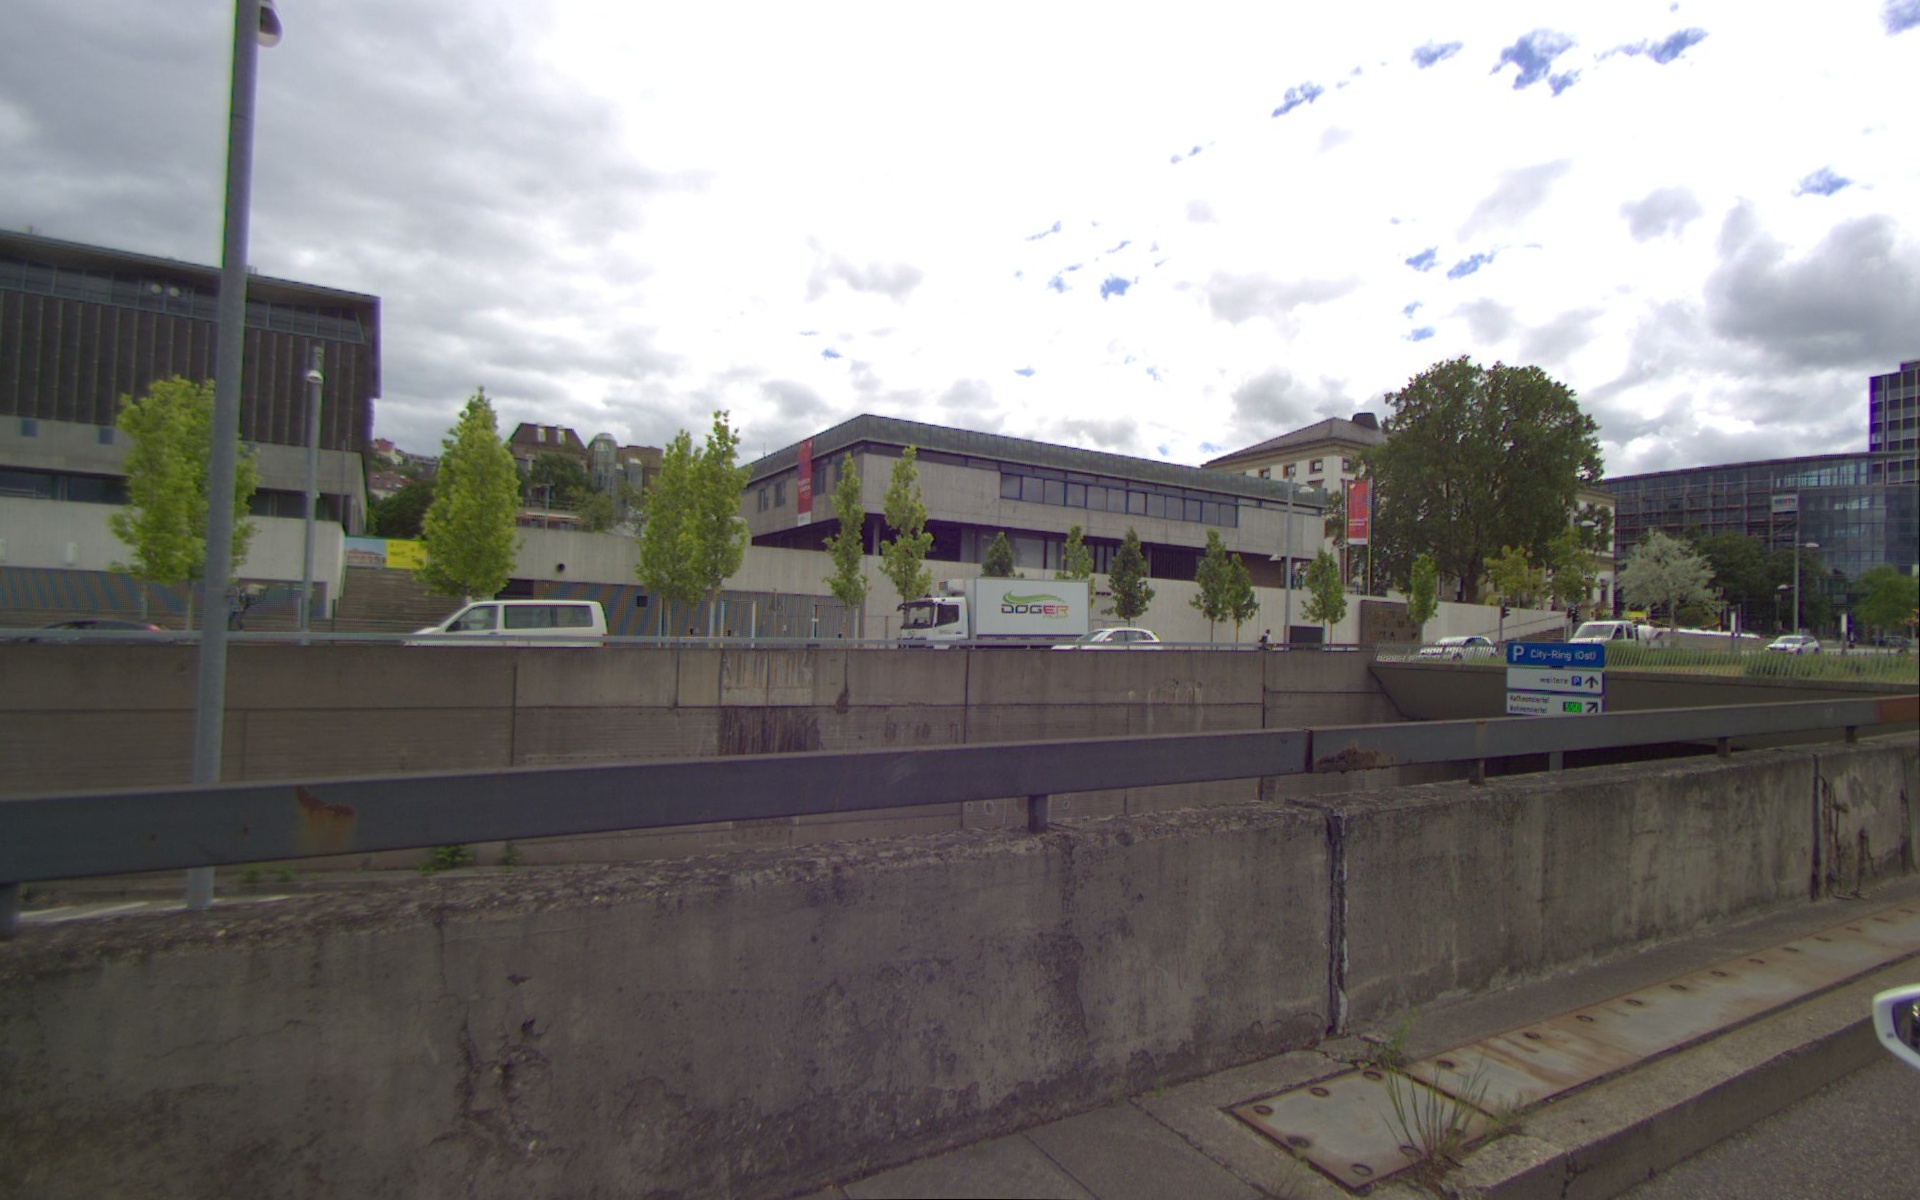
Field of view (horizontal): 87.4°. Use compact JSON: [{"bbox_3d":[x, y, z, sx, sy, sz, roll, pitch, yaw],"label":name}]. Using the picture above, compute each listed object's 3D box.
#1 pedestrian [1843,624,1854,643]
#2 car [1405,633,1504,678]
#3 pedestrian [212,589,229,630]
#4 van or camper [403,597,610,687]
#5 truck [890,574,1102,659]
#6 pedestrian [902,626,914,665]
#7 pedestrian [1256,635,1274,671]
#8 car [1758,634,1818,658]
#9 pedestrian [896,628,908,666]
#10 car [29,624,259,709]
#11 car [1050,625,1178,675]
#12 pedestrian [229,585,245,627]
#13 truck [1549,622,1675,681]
[{"bbox_3d":[80.968,3.036,91.511,0.643,1.671,0.521,2,0,-31],"label":"pedestrian"},{"bbox_3d":[22.128,2.450,44.942,4.208,1.840,1.984,1,0,-30],"label":"car"},{"bbox_3d":[-27.603,0.350,37.494,0.457,1.542,0.377,2,0,-36],"label":"pedestrian"},{"bbox_3d":[-11.197,0.989,24.841,4.503,2.040,1.984,1,0,-30],"label":"van or camper"},{"bbox_3d":[1.353,0.611,36.582,7.170,2.825,3.214,1,0,-31],"label":"truck"},{"bbox_3d":[-2.097,1.830,40.600,0.314,1.542,0.346,2,0,-36],"label":"pedestrian"},{"bbox_3d":[15.241,2.653,50.163,0.656,1.757,0.537,1,0,-30],"label":"pedestrian"},{"bbox_3d":[57.233,3.148,69.429,4.556,1.595,1.711,1,0,-29],"label":"car"},{"bbox_3d":[-2.360,1.913,40.887,0.314,1.542,0.410,2,0,-36],"label":"pedestrian"},{"bbox_3d":[-19.296,1.518,24.012,3.953,1.840,1.984,1,0,-30],"label":"car"},{"bbox_3d":[5.327,1.674,34.686,4.218,1.595,1.711,1,0,-29],"label":"car"},{"bbox_3d":[-26.647,0.229,37.031,0.457,1.542,0.377,2,0,-36],"label":"pedestrian"},{"bbox_3d":[33.561,2.573,51.658,6.991,2.854,2.453,1,0,-29],"label":"truck"}]
